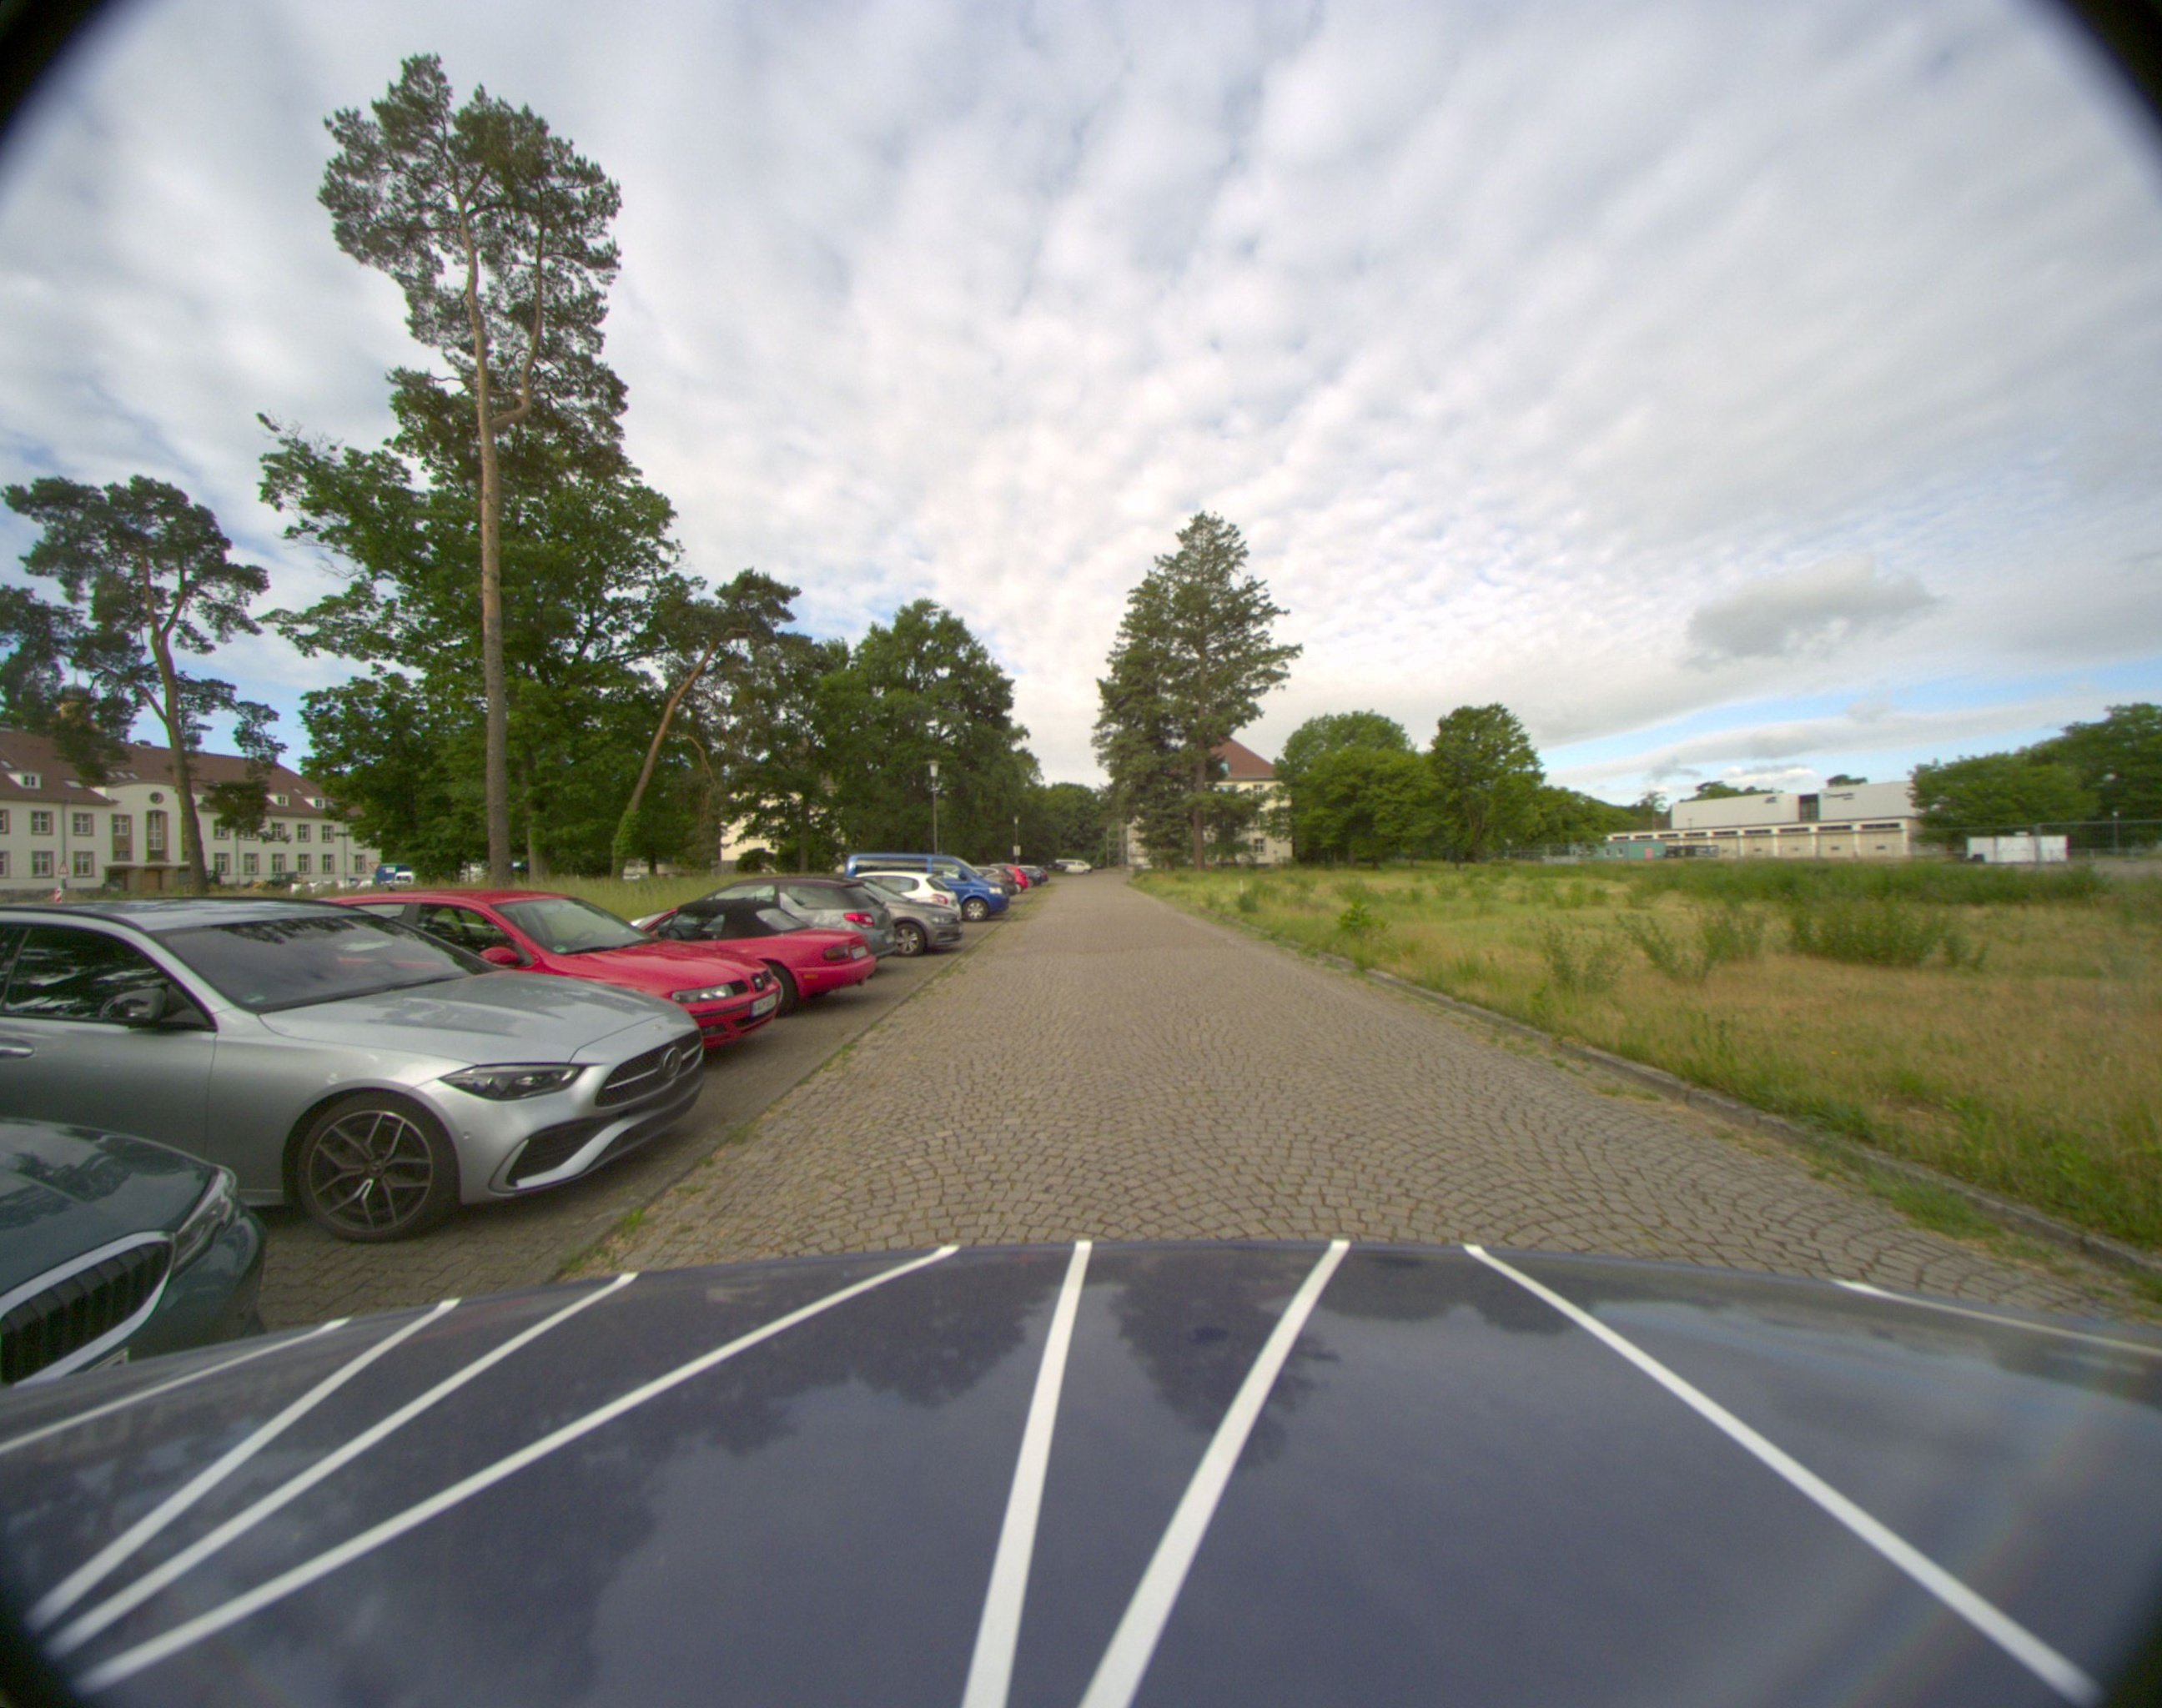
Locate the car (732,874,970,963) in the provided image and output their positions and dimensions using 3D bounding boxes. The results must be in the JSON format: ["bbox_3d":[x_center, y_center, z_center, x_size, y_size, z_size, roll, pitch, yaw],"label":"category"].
[{"bbox_3d":[-4.176,1.155,14.219,3.848,1.447,1.820,-1,0,3],"label":"car"}]

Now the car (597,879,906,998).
[{"bbox_3d":[-4.719,1.180,11.332,3.787,1.496,1.799,-1,0,-2],"label":"car"}]

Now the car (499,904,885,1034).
[{"bbox_3d":[-4.244,1.249,8.639,3.600,1.200,1.495,-1,0,1],"label":"car"}]

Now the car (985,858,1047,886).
[{"bbox_3d":[-4.415,1.210,51.991,4.007,1.752,2.000,-1,0,1],"label":"car"}]

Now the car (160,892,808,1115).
[{"bbox_3d":[-4.610,1.120,6.357,3.972,1.443,1.800,-1,0,0],"label":"car"}]

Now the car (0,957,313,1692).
[{"bbox_3d":[-4.683,1.090,1.297,4.770,1.474,1.761,-1,0,-3],"label":"car"}]

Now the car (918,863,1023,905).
[{"bbox_3d":[-4.514,1.203,31.410,3.997,1.601,2.000,-1,0,0],"label":"car"}]

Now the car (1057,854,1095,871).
[{"bbox_3d":[-0.668,1.136,105.254,5.031,2.164,2.000,-1,0,2],"label":"car"}]

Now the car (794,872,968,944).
[{"bbox_3d":[-4.393,1.171,17.044,3.408,1.443,1.637,-1,0,1],"label":"car"}]

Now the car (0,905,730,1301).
[{"bbox_3d":[-4.687,1.113,4.033,4.769,1.474,1.812,-1,0,0],"label":"car"}]

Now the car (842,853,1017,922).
[{"bbox_3d":[-4.362,0.955,22.468,4.749,1.927,2.000,0,0,0],"label":"car"}]

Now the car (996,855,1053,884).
[{"bbox_3d":[-4.153,1.126,56.388,3.996,2.002,2.000,-1,0,1],"label":"car"}]

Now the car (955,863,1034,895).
[{"bbox_3d":[-4.690,1.364,41.743,3.997,1.521,2.000,-3,0,0],"label":"car"}]

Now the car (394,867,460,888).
[{"bbox_3d":[-68.008,2.405,79.141,2.153,2.002,5.225,-1,0,3],"label":"car"}]
